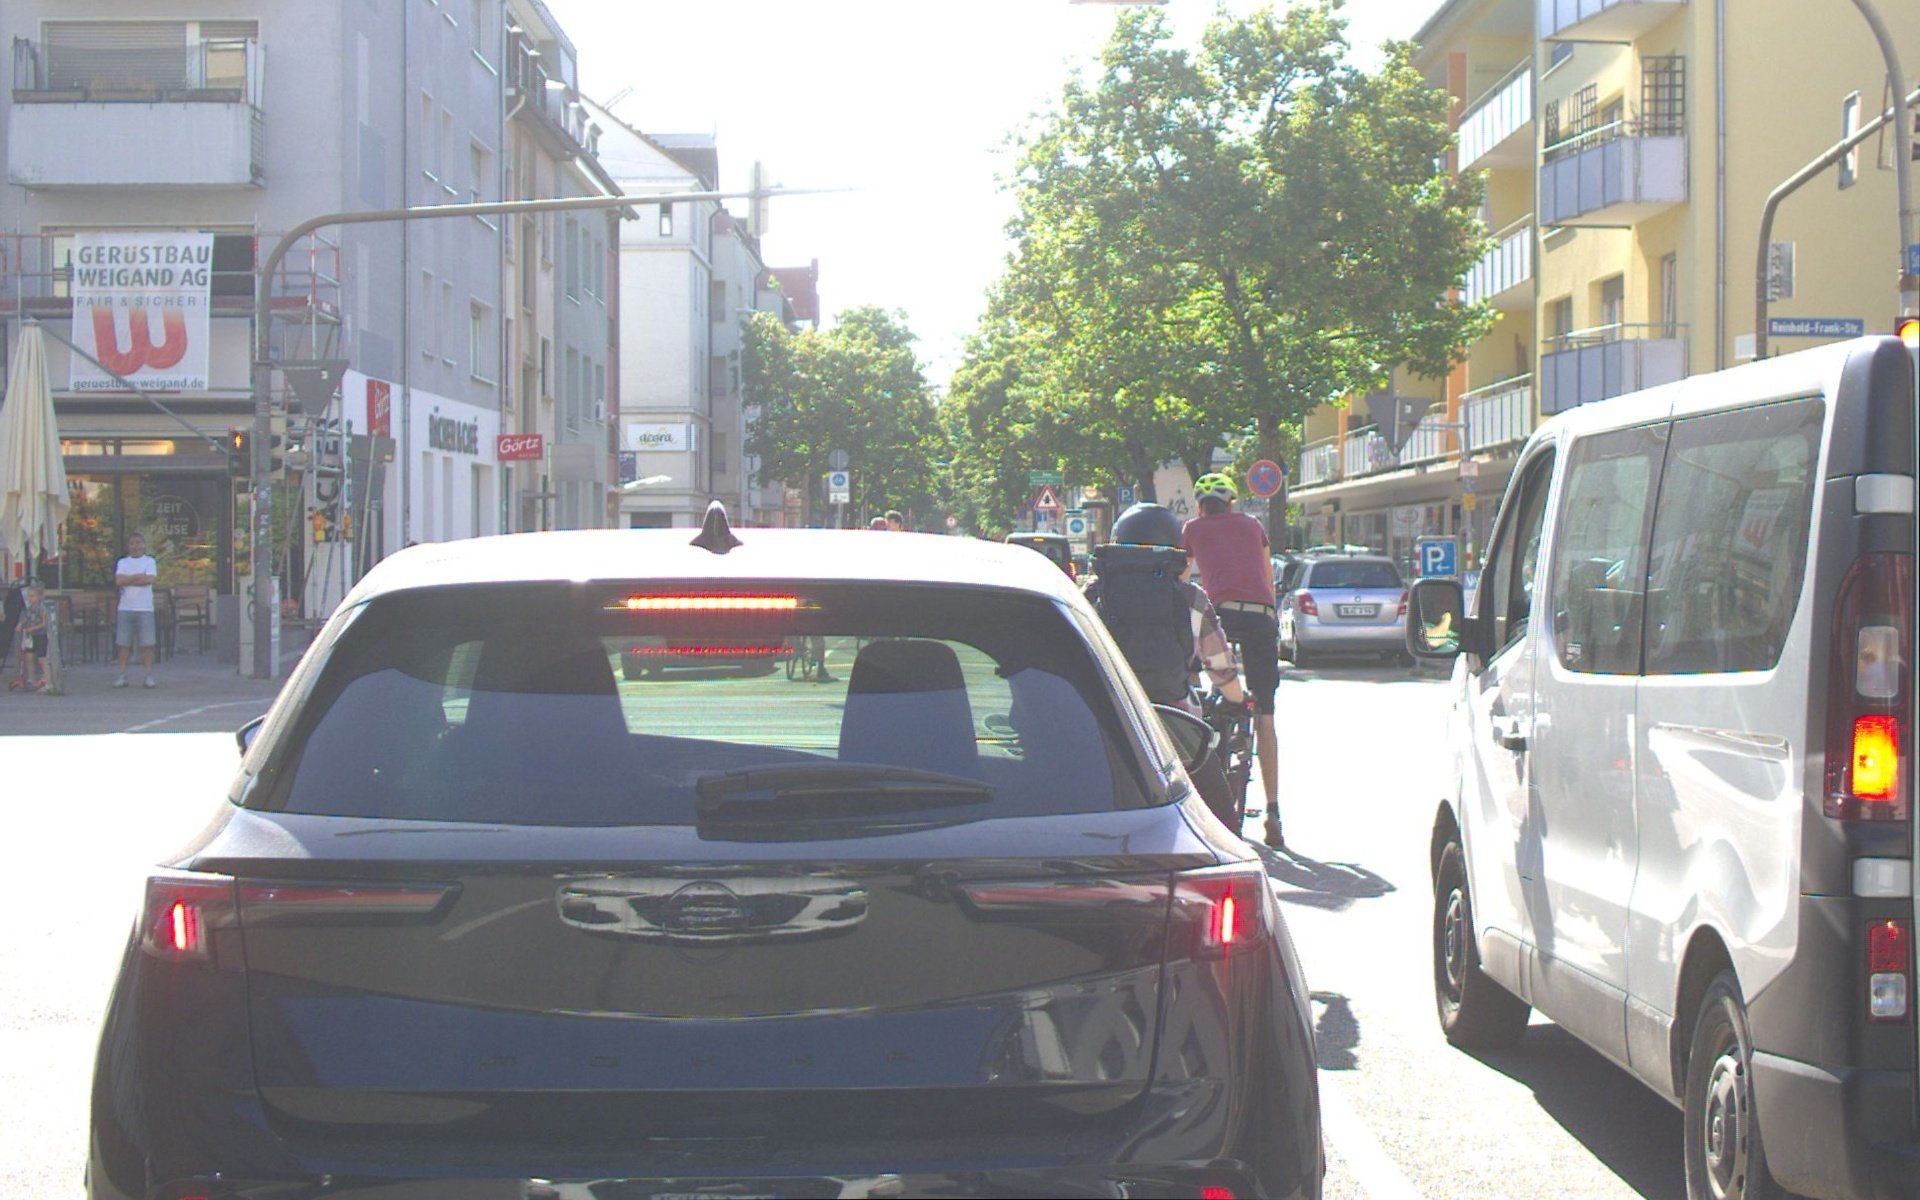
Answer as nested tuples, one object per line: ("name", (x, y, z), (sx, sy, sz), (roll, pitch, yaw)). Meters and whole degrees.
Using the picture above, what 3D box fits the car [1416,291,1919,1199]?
("car", (2.470, 0.436, 8.473), (1.993, 1.972, 4.895), (2, 1, 0))

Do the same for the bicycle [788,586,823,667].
("bicycle", (-1.977, 0.331, 44.034), (0.443, 0.989, 2.069), (0, 1, -2))

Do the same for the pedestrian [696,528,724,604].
("pedestrian", (-5.572, -0.756, 76.635), (0.570, 1.684, 0.588), (0, 1, -1))

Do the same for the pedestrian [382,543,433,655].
("pedestrian", (-7.517, -0.024, 46.811), (0.617, 1.516, 0.725), (0, 1, -3))

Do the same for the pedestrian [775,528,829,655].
("pedestrian", (-2.011, -0.109, 43.778), (0.680, 1.600, 0.762), (0, 1, -2))

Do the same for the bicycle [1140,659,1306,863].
("bicycle", (1.322, 0.791, 17.617), (0.577, 0.901, 2.301), (0, 1, -2))

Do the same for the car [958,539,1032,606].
("car", (0.915, -0.742, 90.951), (1.902, 1.722, 4.000), (0, 1, 0))

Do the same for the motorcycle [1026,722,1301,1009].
("motorcycle", (0.684, 0.901, 12.172), (0.825, 0.842, 1.885), (0, 1, -1))

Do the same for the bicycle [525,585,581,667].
("bicycle", (-5.178, 0.323, 43.817), (0.521, 0.989, 2.339), (0, 1, -2))

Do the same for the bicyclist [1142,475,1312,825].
("bicyclist", (1.339, 0.234, 17.461), (0.689, 1.707, 1.414), (0, 1, -2))

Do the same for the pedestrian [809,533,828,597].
("pedestrian", (-3.759, -0.933, 91.482), (0.488, 1.684, 0.588), (0, 1, -1))

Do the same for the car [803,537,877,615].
("car", (-3.120, -0.643, 89.825), (1.855, 2.007, 3.881), (0, 1, -1))

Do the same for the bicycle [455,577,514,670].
("bicycle", (-6.068, 0.285, 43.950), (0.521, 1.143, 2.284), (0, 1, -2))

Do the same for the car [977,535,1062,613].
("car", (1.340, -0.611, 78.390), (1.902, 1.722, 4.073), (0, 1, 1))

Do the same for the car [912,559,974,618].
("car", (-0.499, -0.371, 104.954), (1.825, 1.722, 4.000), (0, 1, 1))

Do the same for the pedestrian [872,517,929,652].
("pedestrian", (-0.760, -0.201, 43.654), (0.707, 1.695, 0.802), (0, 1, -2))

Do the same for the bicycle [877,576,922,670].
("bicycle", (-0.780, 0.281, 43.846), (0.521, 1.143, 2.170), (0, 1, -2))

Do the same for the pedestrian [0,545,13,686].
("pedestrian", (-10.697, 0.163, 37.491), (0.584, 1.516, 0.650), (0, 1, -3))

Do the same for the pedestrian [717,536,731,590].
("pedestrian", (-7.276, -1.132, 106.143), (0.402, 1.669, 0.418), (0, 1, -1))

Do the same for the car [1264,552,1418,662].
("car", (5.195, 0.063, 47.266), (1.634, 1.428, 3.957), (0, 1, -1))

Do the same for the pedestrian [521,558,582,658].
("pedestrian", (-5.170, 0.099, 43.558), (0.707, 1.249, 0.802), (0, 1, -2))

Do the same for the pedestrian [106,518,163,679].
("pedestrian", (-9.140, -0.019, 38.082), (0.561, 1.769, 0.584), (0, 1, -9))

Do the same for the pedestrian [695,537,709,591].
("pedestrian", (-7.999, -1.111, 106.496), (0.402, 1.669, 0.418), (0, 1, -1))

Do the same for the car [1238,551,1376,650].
("car", (5.191, -0.019, 51.863), (1.634, 1.428, 4.000), (0, 1, -1))

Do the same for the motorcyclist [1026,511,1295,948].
("motorcyclist", (0.698, 0.436, 12.367), (0.864, 1.497, 1.160), (0, 1, -2))

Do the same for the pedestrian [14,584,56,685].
("pedestrian", (-10.072, 0.376, 37.430), (0.355, 1.088, 0.462), (0, 1, -3))

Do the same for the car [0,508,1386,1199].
("car", (-0.431, 0.617, 6.339), (1.770, 1.525, 4.001), (0, 1, -2))

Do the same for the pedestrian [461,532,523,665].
("pedestrian", (-5.940, -0.022, 43.621), (0.707, 1.672, 0.802), (0, 1, -2))
